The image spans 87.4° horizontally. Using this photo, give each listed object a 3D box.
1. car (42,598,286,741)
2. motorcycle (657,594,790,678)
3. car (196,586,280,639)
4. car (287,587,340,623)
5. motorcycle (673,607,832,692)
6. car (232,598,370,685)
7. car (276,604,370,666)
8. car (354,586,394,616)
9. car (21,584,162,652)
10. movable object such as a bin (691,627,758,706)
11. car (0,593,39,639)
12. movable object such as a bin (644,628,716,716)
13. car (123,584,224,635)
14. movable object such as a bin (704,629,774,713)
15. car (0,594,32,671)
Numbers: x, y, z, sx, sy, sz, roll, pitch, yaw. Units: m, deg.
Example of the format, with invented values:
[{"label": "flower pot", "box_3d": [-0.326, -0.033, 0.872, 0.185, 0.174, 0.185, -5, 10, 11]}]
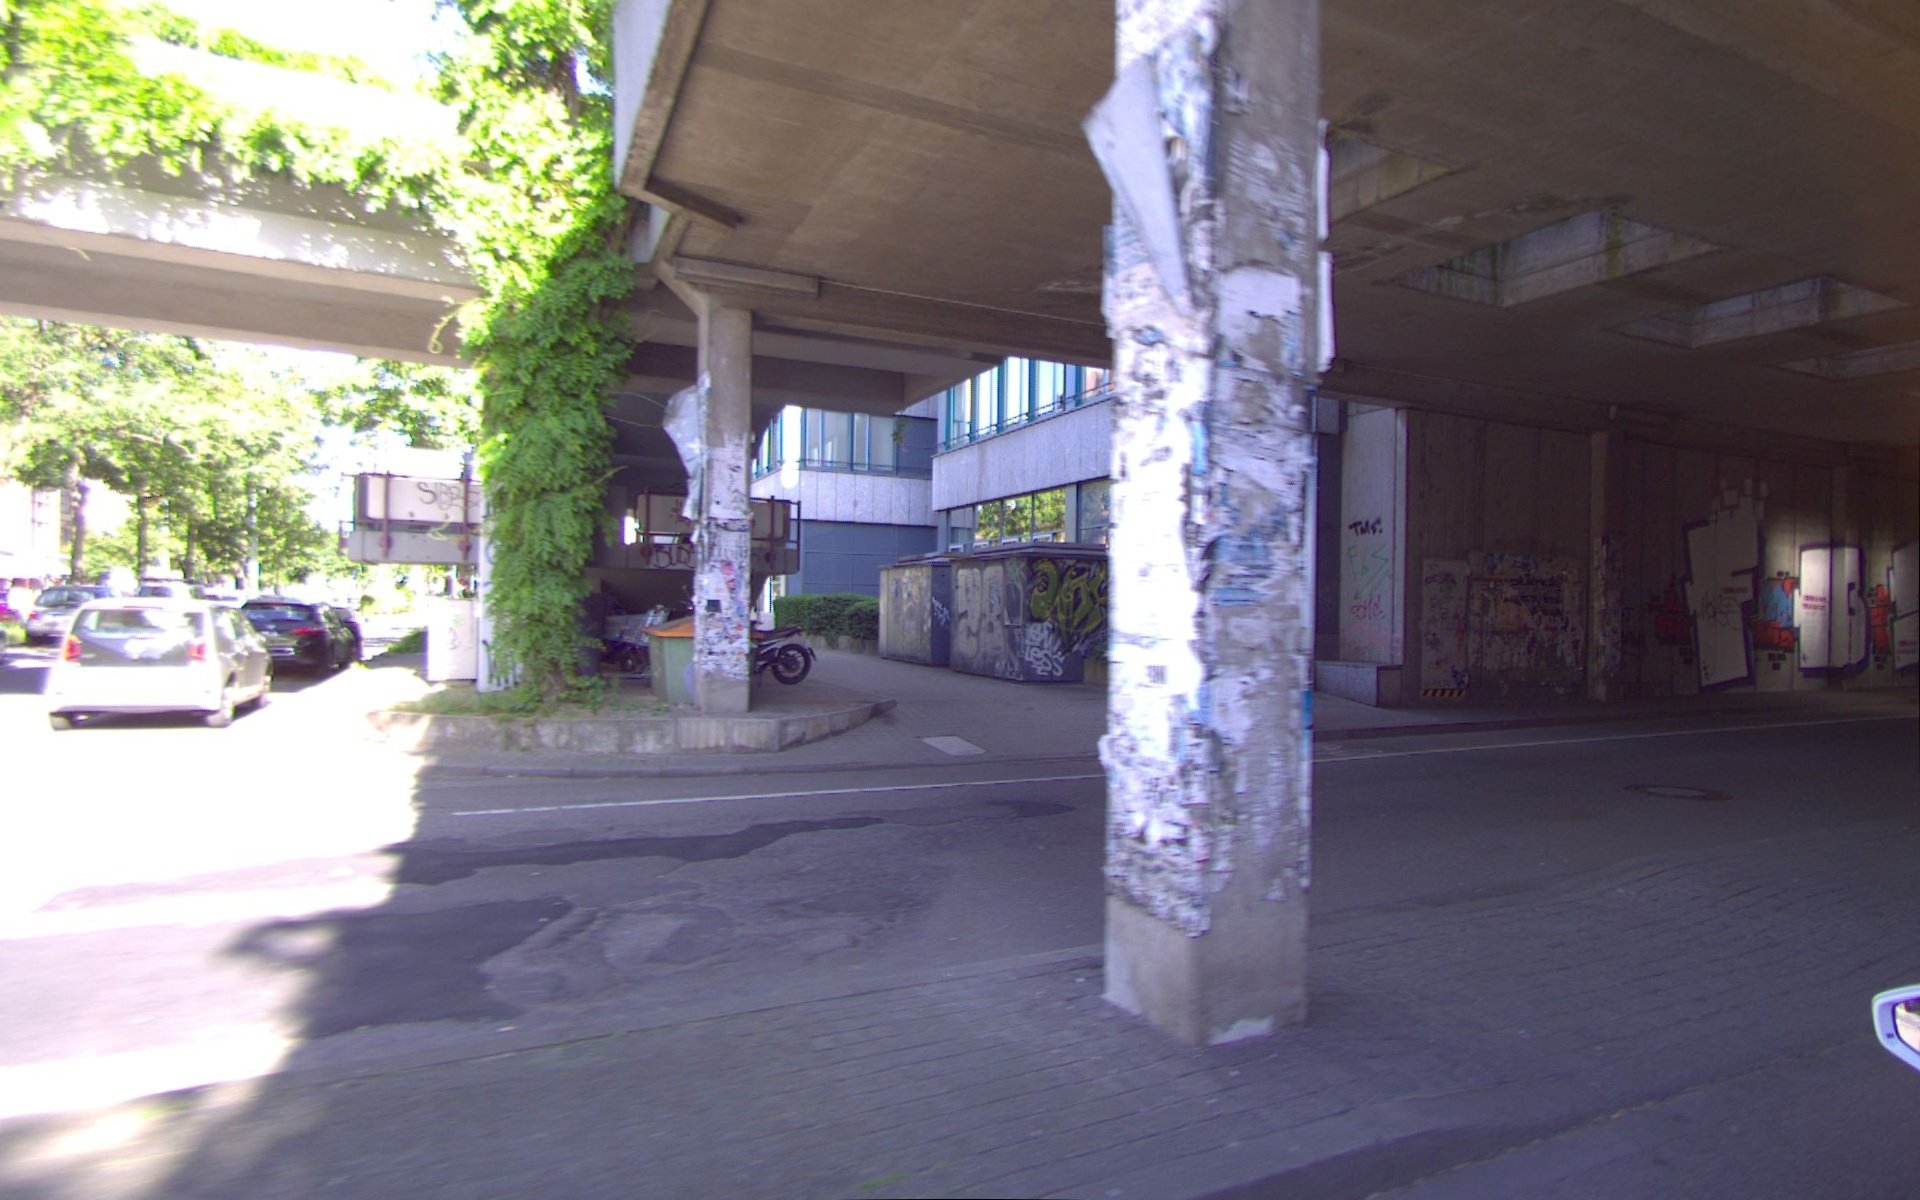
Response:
[{"label": "car", "box_3d": [-9.700, 0.756, 12.546, 1.590, 1.506, 3.624, 2, -1, -26]}, {"label": "motorcycle", "box_3d": [-3.771, 0.575, 16.061, 1.967, 1.281, 0.676, 1, 0, -28]}, {"label": "car", "box_3d": [-28.173, 0.475, 39.325, 1.974, 1.908, 4.208, 1, -1, -27]}, {"label": "car", "box_3d": [-37.419, 0.292, 58.233, 2.045, 1.934, 4.495, 1, 0, -26]}, {"label": "motorcycle", "box_3d": [-2.908, 0.690, 14.189, 2.124, 1.125, 0.524, 2, 0, -29]}, {"label": "car", "box_3d": [-13.091, 0.777, 20.177, 1.715, 1.550, 3.975, 2, -1, -25]}, {"label": "car", "box_3d": [-15.860, 0.833, 25.156, 1.666, 1.422, 3.773, 2, -1, -28]}, {"label": "car", "box_3d": [-41.873, 0.085, 71.861, 1.972, 2.040, 4.270, 1, -1, -24]}, {"label": "car", "box_3d": [-23.112, 0.470, 26.908, 1.755, 1.668, 4.057, 1, -1, -25]}, {"label": "movable object such as a bin", "box_3d": [-2.917, 0.802, 12.414, 0.633, 0.917, 0.783, 1, 0, -27]}, {"label": "car", "box_3d": [-31.781, 0.491, 32.708, 1.635, 1.447, 3.484, 2, -1, -26]}, {"label": "movable object such as a bin", "box_3d": [-3.125, 0.788, 11.204, 0.633, 0.917, 0.714, 1, 0, -27]}, {"label": "car", "box_3d": [-26.275, 0.315, 33.721, 1.712, 1.569, 4.420, 1, -1, -26]}, {"label": "movable object such as a bin", "box_3d": [-2.586, 0.813, 11.718, 0.633, 0.917, 0.714, 1, 0, -27]}, {"label": "car", "box_3d": [-18.821, 0.574, 18.262, 1.637, 1.467, 4.253, 5, -2, -26]}]
